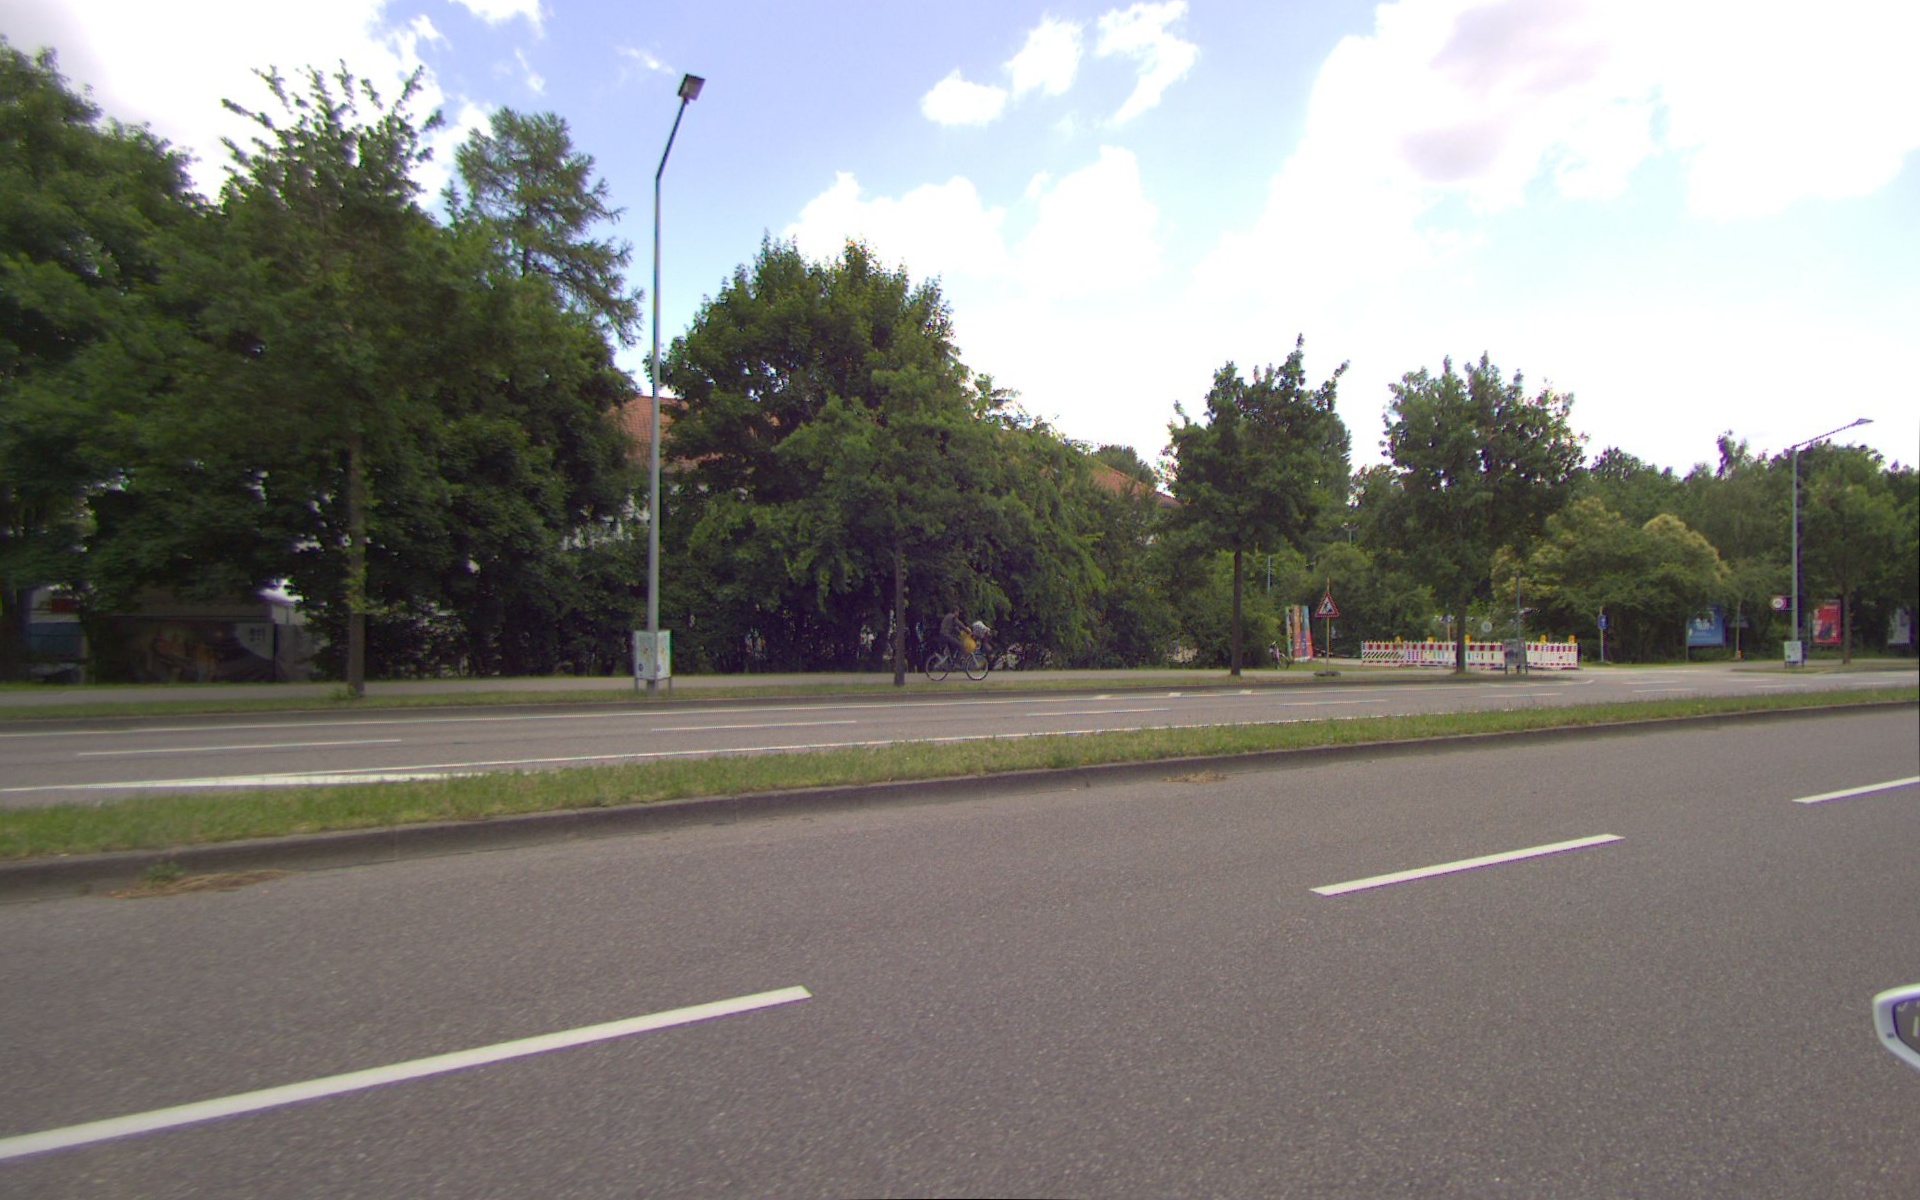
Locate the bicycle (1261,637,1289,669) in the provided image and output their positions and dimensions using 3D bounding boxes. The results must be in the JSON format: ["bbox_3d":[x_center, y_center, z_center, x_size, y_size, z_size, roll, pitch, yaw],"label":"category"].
[{"bbox_3d":[11.240,1.881,35.837,0.866,1.073,2.364,0,-1,20],"label":"bicycle"}]

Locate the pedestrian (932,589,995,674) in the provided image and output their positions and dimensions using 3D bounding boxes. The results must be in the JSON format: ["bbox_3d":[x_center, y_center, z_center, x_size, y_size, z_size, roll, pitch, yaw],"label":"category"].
[{"bbox_3d":[0.082,0.761,24.622,1.234,2.040,0.966,0,-1,-29],"label":"pedestrian"}]

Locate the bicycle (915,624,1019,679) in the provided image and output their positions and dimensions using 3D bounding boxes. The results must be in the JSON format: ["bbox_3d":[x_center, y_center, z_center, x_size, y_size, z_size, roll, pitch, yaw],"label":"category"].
[{"bbox_3d":[0.179,1.224,24.524,2.472,1.243,0.804,0,0,-30],"label":"bicycle"}]
